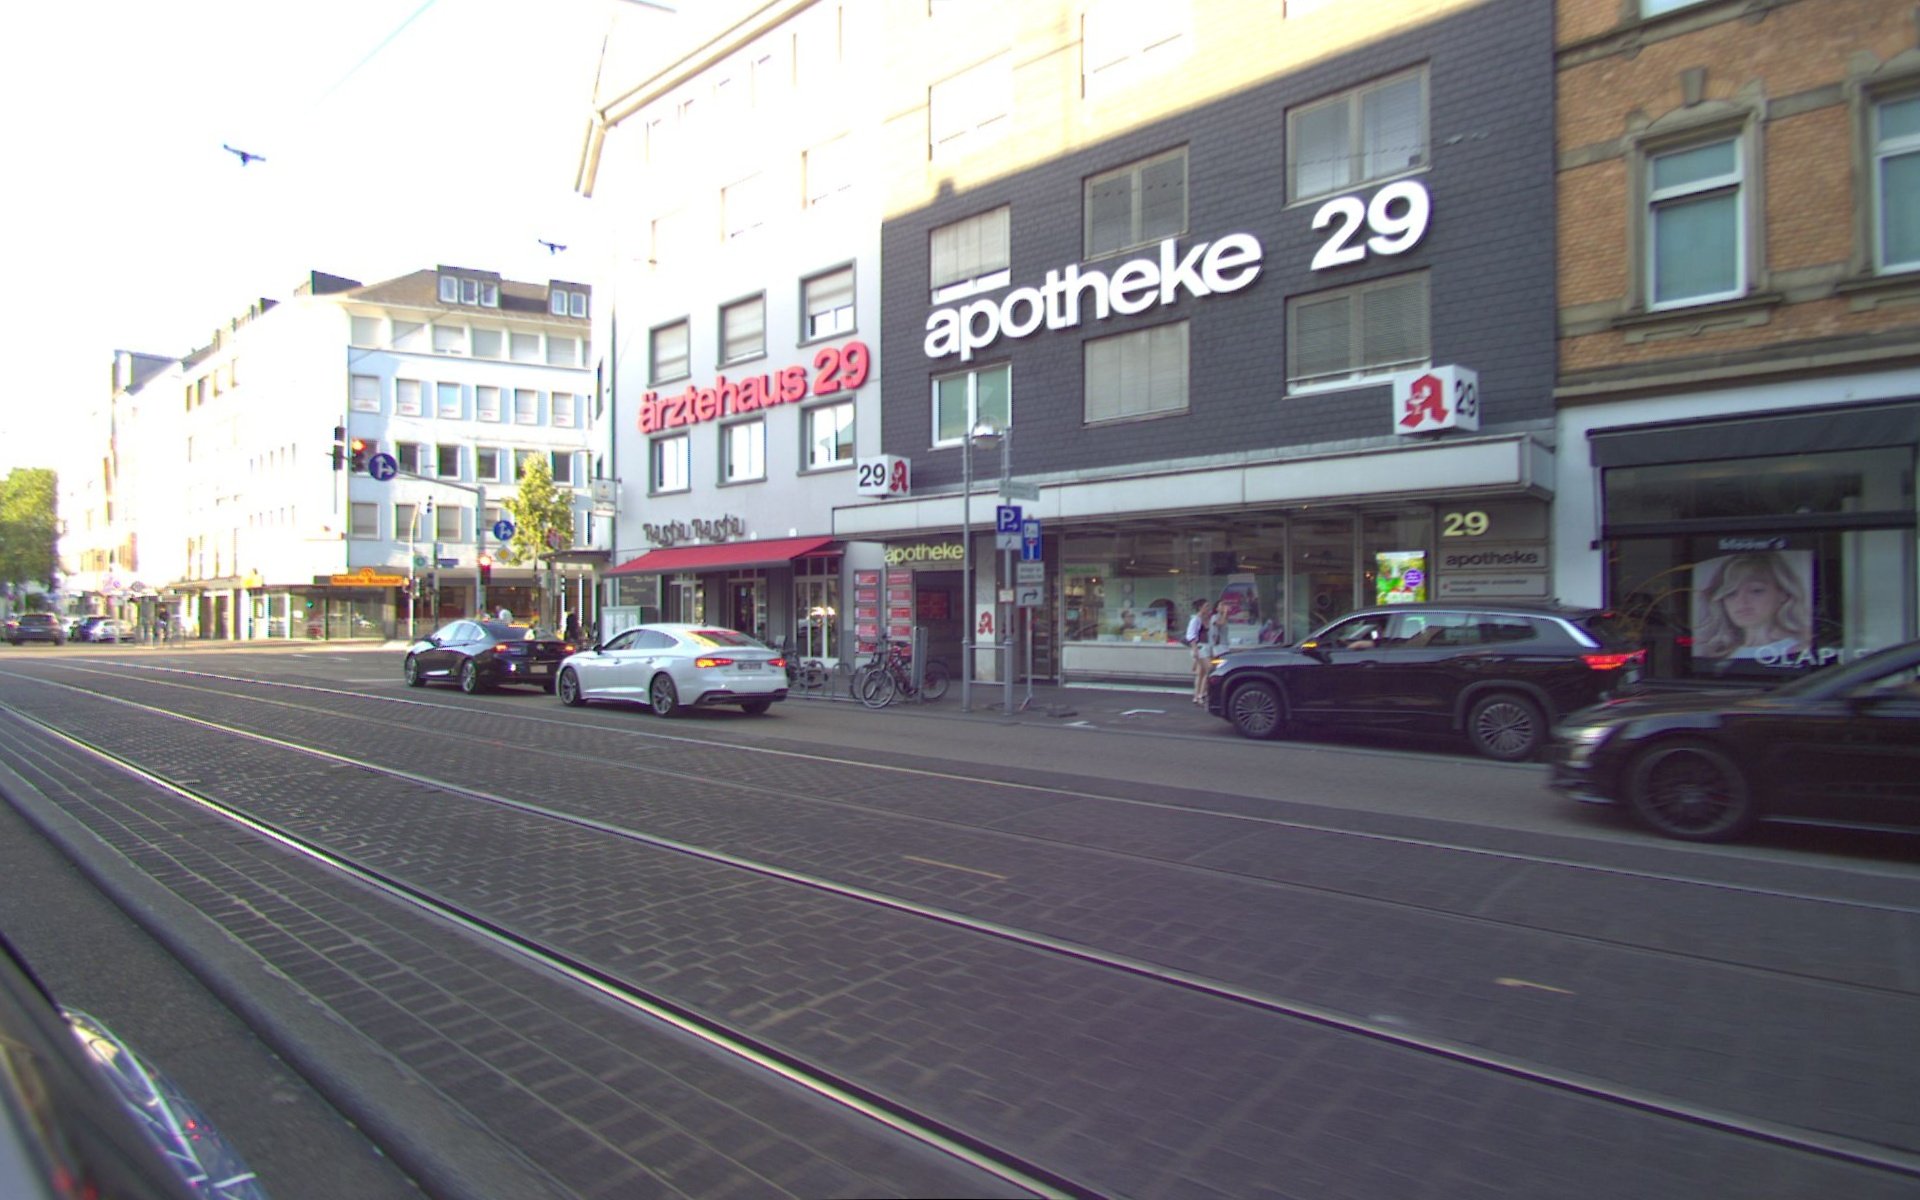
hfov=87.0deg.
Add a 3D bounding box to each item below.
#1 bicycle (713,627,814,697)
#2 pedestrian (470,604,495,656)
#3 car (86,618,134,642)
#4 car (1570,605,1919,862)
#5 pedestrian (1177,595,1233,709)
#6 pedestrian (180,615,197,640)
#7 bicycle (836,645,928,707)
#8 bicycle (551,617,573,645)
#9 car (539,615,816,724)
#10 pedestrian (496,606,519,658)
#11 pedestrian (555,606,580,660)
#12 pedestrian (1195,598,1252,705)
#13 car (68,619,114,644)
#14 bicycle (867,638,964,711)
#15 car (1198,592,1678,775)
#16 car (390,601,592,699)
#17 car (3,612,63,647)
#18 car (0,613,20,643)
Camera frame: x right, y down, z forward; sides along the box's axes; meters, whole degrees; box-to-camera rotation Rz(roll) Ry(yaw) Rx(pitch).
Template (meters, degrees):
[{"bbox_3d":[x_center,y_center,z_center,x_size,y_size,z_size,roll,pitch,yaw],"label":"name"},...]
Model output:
[{"bbox_3d":[-3.926,1.221,20.409,0.553,1.233,2.090,-1,1,41],"label":"bicycle"},{"bbox_3d":[-16.532,1.032,35.036,0.628,1.758,0.670,0,-1,-38],"label":"pedestrian"},{"bbox_3d":[-49.169,1.744,58.544,3.387,1.262,1.615,-2,1,41],"label":"car"},{"bbox_3d":[6.578,0.788,6.153,4.647,1.464,1.972,-1,-3,41],"label":"car"},{"bbox_3d":[3.801,0.793,15.702,0.602,1.712,0.614,-2,-1,41],"label":"pedestrian"},{"bbox_3d":[-46.163,1.654,60.532,0.621,1.483,0.539,-2,1,25],"label":"pedestrian"},{"bbox_3d":[-1.348,1.311,17.772,0.455,0.919,1.786,-3,0,41],"label":"bicycle"},{"bbox_3d":[-19.453,1.482,49.470,0.629,1.262,2.382,1,0,-30],"label":"bicycle"},{"bbox_3d":[-4.582,1.010,16.042,4.653,1.464,1.973,0,-3,41],"label":"car"},{"bbox_3d":[-15.883,1.104,35.538,0.628,1.792,0.602,0,-1,-36],"label":"pedestrian"},{"bbox_3d":[-12.426,1.029,32.044,0.701,1.689,0.705,0,-1,-25],"label":"pedestrian"},{"bbox_3d":[4.223,0.806,16.204,0.624,1.673,0.675,-2,-1,41],"label":"pedestrian"},{"bbox_3d":[-52.696,1.920,61.362,3.387,1.364,1.615,-2,1,41],"label":"car"},{"bbox_3d":[-0.733,1.238,17.148,0.489,1.055,1.812,-3,0,41],"label":"bicycle"},{"bbox_3d":[5.313,0.807,11.695,4.646,1.687,1.909,-1,0,43],"label":"car"},{"bbox_3d":[-9.553,0.957,20.421,4.726,1.740,1.972,-1,-3,42],"label":"car"},{"bbox_3d":[-46.905,1.466,51.190,4.258,1.711,1.803,-1,-1,42],"label":"car"},{"bbox_3d":[-56.450,1.627,59.086,4.565,1.711,1.782,-1,-1,40],"label":"car"}]
